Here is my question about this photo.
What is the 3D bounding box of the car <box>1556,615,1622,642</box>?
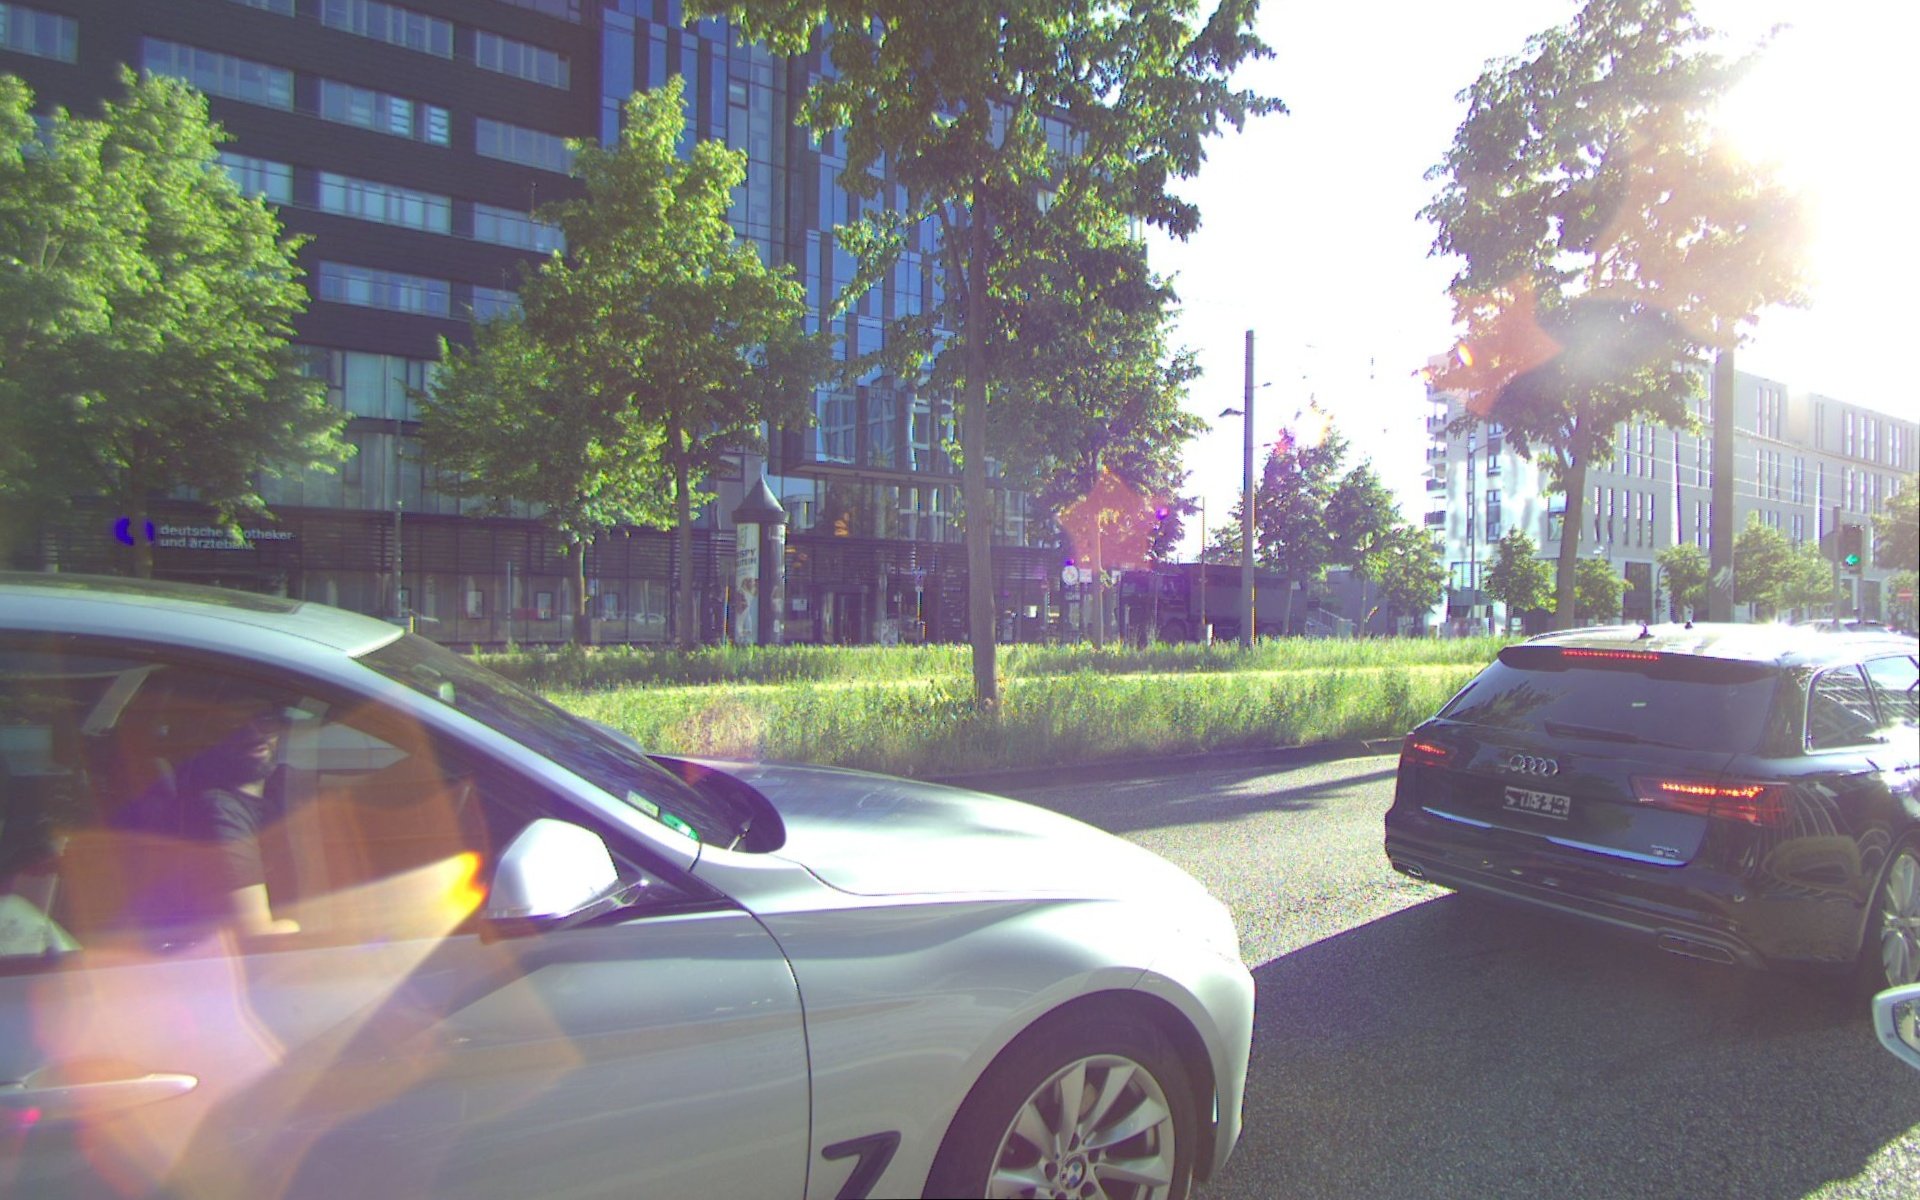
[{"bbox_3d":[37.529,1.679,59.911,3.953,1.540,1.756,1,-1,-30],"label":"car"}]

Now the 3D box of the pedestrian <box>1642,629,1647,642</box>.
[{"bbox_3d":[57.205,2.942,83.983,0.286,1.100,0.252,1,0,-30],"label":"pedestrian"}]

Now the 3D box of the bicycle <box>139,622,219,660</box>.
[{"bbox_3d":[-22.387,1.177,28.814,1.735,1.049,0.475,1,-1,-31],"label":"bicycle"}]

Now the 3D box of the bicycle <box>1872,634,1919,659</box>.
[{"bbox_3d":[47.096,2.311,49.598,0.808,1.206,2.927,1,-1,-31],"label":"bicycle"}]

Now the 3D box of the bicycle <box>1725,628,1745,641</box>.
[{"bbox_3d":[65.282,2.907,84.593,1.933,1.001,0.673,1,-1,-31],"label":"bicycle"}]

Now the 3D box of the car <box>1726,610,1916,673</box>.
[{"bbox_3d":[25.898,1.187,30.459,1.769,1.503,4.568,3,2,0],"label":"car"}]

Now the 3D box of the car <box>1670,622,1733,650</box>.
[{"bbox_3d":[51.468,2.503,69.685,4.319,1.838,1.984,1,-1,-30],"label":"car"}]

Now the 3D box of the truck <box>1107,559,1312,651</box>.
[{"bbox_3d":[11.693,0.298,46.505,10.094,3.904,2.877,1,-1,-31],"label":"truck"}]

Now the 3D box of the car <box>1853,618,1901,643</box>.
[{"bbox_3d":[78.096,2.579,85.530,3.953,2.040,1.984,1,-1,-30],"label":"car"}]

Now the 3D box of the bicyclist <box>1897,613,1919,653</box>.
[{"bbox_3d":[47.110,1.636,49.624,0.808,1.973,0.993,1,-1,-31],"label":"bicyclist"}]

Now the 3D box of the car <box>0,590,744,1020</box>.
[{"bbox_3d":[-3.417,0.710,4.382,4.515,1.467,1.790,1,-1,-30],"label":"car"}]

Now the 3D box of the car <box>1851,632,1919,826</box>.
[{"bbox_3d":[9.315,1.015,8.197,4.288,1.445,1.833,1,0,-30],"label":"car"}]

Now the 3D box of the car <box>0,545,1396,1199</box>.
[{"bbox_3d":[-1.356,0.699,1.983,4.509,1.504,1.810,1,-1,-31],"label":"car"}]

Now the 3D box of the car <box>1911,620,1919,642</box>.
[{"bbox_3d":[90.295,2.863,93.144,3.953,2.040,1.984,1,-1,-30],"label":"car"}]

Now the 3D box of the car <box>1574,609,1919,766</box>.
[{"bbox_3d":[9.142,0.869,11.298,4.511,1.467,1.792,1,-1,-28],"label":"car"}]

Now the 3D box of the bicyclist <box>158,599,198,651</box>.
[{"bbox_3d":[-22.414,0.716,28.794,0.811,1.443,0.475,1,-1,-30],"label":"bicyclist"}]

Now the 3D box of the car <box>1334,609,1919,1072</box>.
[{"bbox_3d":[4.390,0.838,5.370,4.911,1.504,1.864,1,-1,-32],"label":"car"}]
